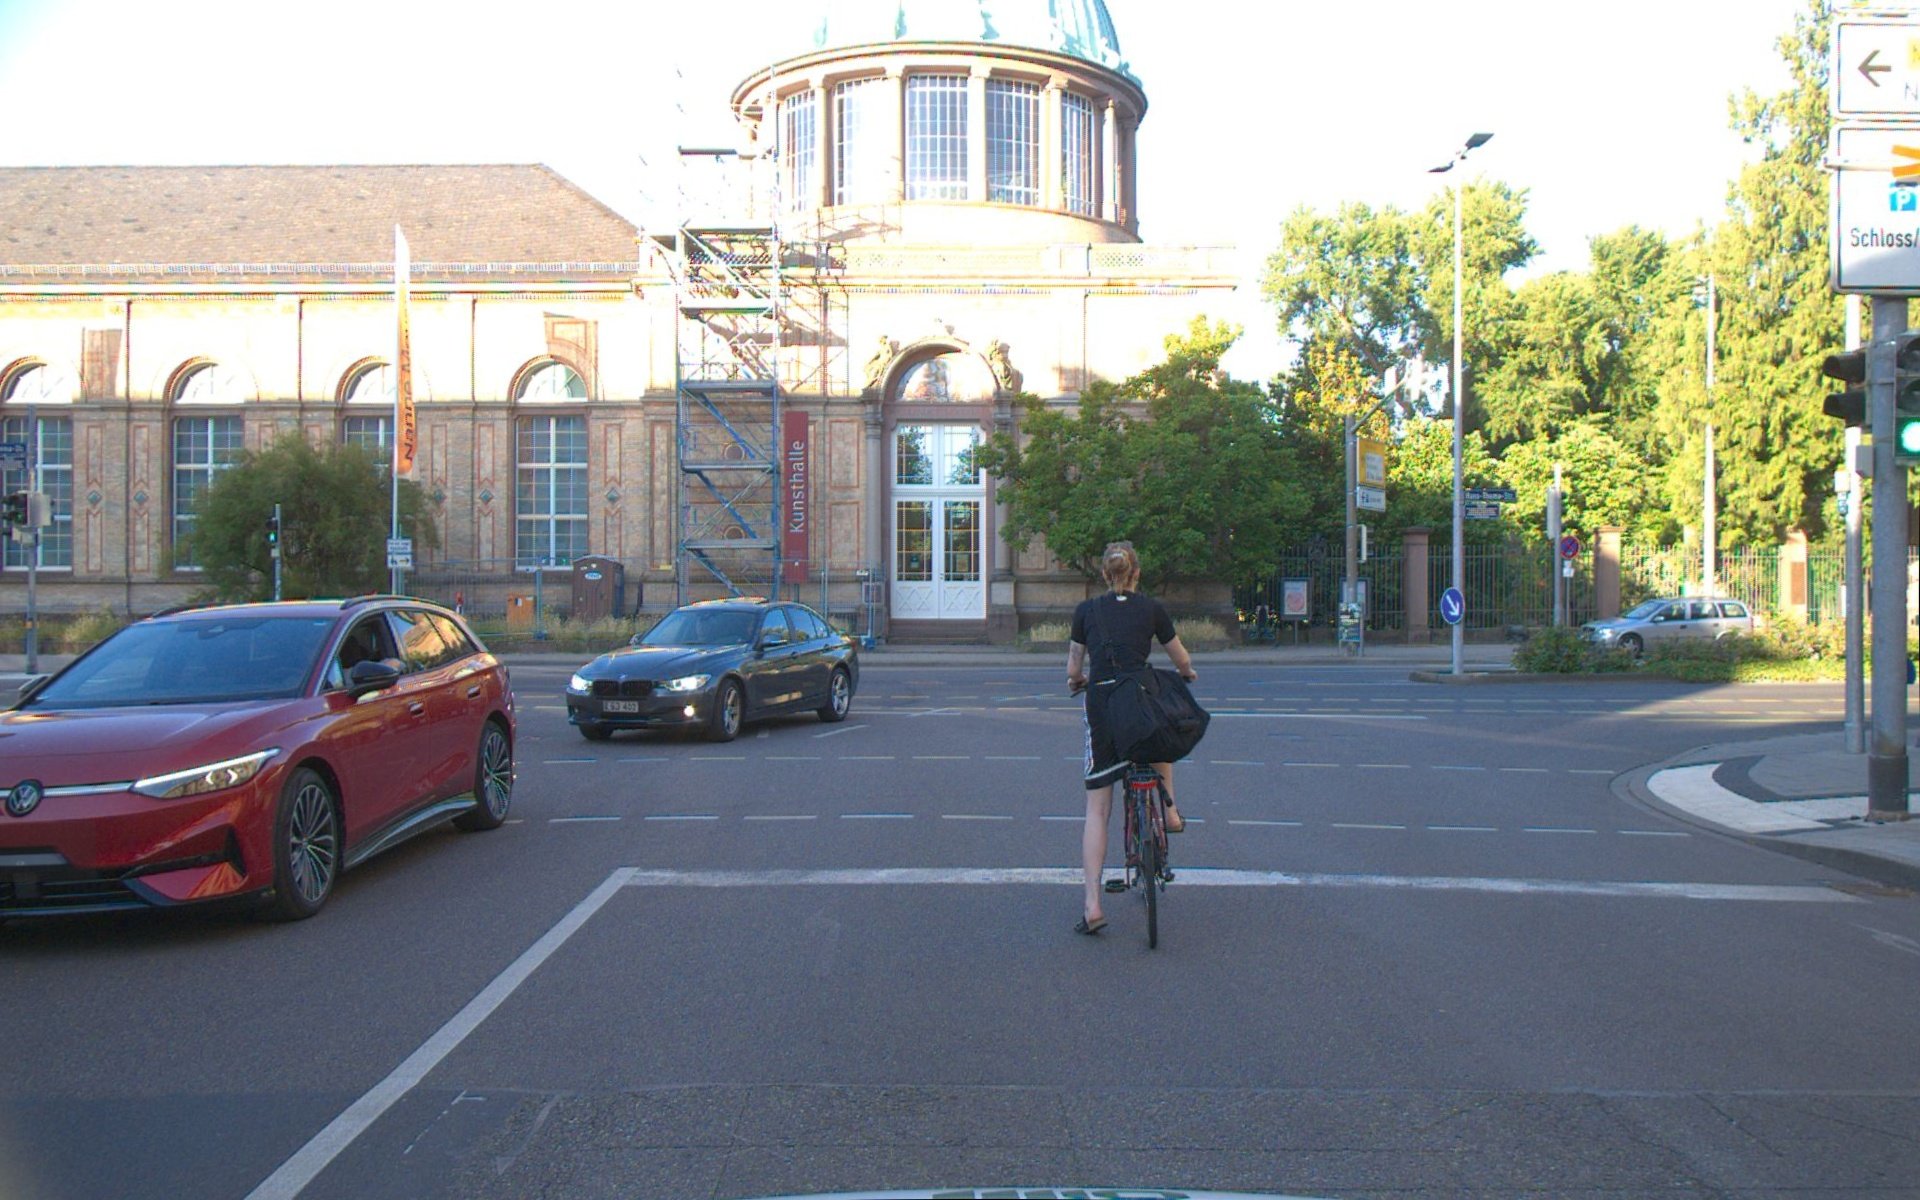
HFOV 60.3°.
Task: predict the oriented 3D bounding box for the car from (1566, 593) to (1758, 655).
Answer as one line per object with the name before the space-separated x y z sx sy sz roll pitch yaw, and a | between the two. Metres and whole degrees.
car | 17.449 0.576 41.175 4.104 1.470 1.713 0 0 -6

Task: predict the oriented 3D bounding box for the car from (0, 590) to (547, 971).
car | -3.935 0.761 9.452 1.793 1.572 4.849 -1 1 1

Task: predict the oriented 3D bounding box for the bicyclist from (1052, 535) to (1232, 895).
bicyclist | 0.843 0.500 7.516 0.701 1.529 0.851 -1 -2 13

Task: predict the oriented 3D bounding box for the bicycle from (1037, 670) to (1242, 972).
bicycle | 0.900 0.938 7.762 0.696 1.176 2.070 -1 -2 13

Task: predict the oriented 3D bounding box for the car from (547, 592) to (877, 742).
car | -2.644 0.669 18.763 1.745 1.485 4.424 -1 0 21

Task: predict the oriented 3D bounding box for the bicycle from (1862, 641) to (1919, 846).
bicycle | 5.937 0.834 9.371 0.570 1.209 1.920 0 -2 -1
